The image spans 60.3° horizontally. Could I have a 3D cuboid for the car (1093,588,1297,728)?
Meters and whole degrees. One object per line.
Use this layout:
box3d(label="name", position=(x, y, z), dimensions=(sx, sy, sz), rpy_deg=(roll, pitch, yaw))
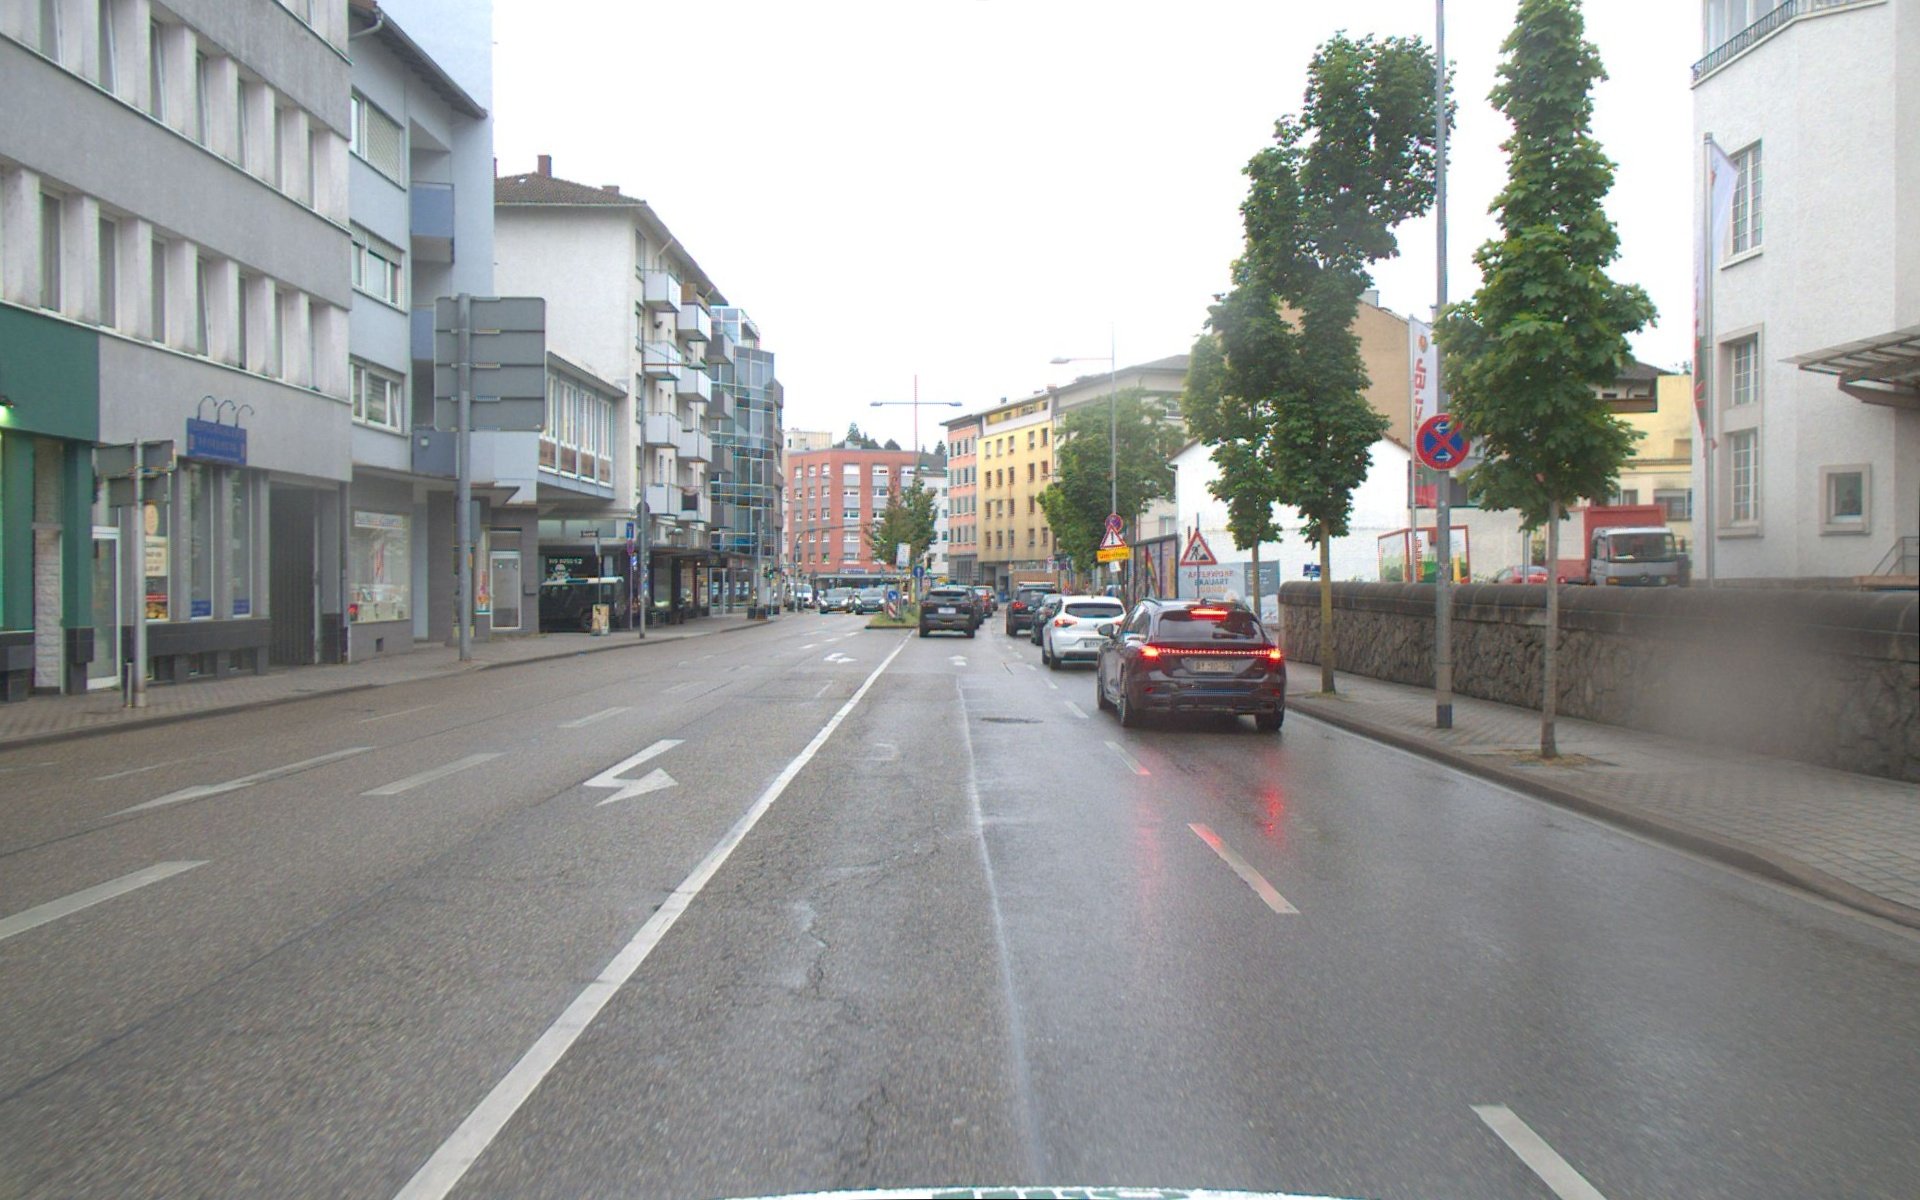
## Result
box3d(label="car", position=(2.711, 0.606, 20.091), dimensions=(1.753, 1.427, 4.633), rpy_deg=(-2, 1, -1))

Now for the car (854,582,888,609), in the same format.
box3d(label="car", position=(-5.119, -0.282, 95.336), dimensions=(1.685, 1.448, 4.165), rpy_deg=(-3, 1, 0))

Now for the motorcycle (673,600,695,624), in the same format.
box3d(label="motorcycle", position=(-12.170, 0.518, 72.982), dimensions=(0.515, 1.012, 2.137), rpy_deg=(1, 1, 1))

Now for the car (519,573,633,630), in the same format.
box3d(label="car", position=(-14.547, 0.055, 62.781), dimensions=(3.882, 2.070, 1.580), rpy_deg=(-1, 0, 0))

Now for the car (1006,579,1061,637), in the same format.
box3d(label="car", position=(2.506, 0.248, 56.904), dimensions=(1.792, 1.837, 3.720), rpy_deg=(1, 2, 2))

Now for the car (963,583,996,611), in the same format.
box3d(label="car", position=(1.014, -0.158, 86.843), dimensions=(1.608, 1.405, 3.347), rpy_deg=(-2, 1, -1))

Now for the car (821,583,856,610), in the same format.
box3d(label="car", position=(-7.390, -0.211, 101.150), dimensions=(1.673, 1.493, 4.830), rpy_deg=(-3, 1, 1))

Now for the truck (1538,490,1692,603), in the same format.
box3d(label="truck", position=(20.997, -1.657, 53.436), dimensions=(2.576, 3.271, 6.933), rpy_deg=(-3, 1, 4))

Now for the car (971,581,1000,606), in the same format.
box3d(label="car", position=(1.504, -0.423, 98.374), dimensions=(1.608, 1.405, 3.347), rpy_deg=(-2, 1, -1))

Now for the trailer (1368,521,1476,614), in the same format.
box3d(label="trailer", position=(15.084, -1.080, 54.292), dimensions=(2.083, 2.763, 5.393), rpy_deg=(-3, 1, 2))

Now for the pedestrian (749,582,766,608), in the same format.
box3d(label="pedestrian", position=(-12.962, -0.345, 105.865), dimensions=(0.775, 1.618, 0.753), rpy_deg=(-2, 1, -36))

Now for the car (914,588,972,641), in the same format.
box3d(label="car", position=(-0.521, 0.458, 54.350), dimensions=(1.786, 1.628, 3.719), rpy_deg=(1, 1, 1))

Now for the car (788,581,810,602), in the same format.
box3d(label="car", position=(-12.516, -0.648, 128.436), dimensions=(1.521, 1.598, 3.341), rpy_deg=(1, 0, -9))

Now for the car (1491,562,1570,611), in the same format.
box3d(label="car", position=(18.264, -0.446, 53.028), dimensions=(1.556, 1.482, 3.266), rpy_deg=(-2, 1, 4))

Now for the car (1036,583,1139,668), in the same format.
box3d(label="car", position=(2.541, 0.469, 33.685), dimensions=(1.631, 1.420, 3.867), rpy_deg=(-5, 2, -1))

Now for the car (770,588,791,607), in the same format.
box3d(label="car", position=(-15.194, -0.232, 139.979), dimensions=(1.429, 1.455, 3.361), rpy_deg=(1, 1, -11))

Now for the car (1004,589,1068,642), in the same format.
box3d(label="car", position=(2.195, 0.425, 47.270), dimensions=(1.749, 1.424, 3.720), rpy_deg=(0, 1, 4))

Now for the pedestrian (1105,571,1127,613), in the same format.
box3d(label="pedestrian", position=(6.730, -0.347, 71.167), dimensions=(0.774, 1.786, 0.872), rpy_deg=(-2, 0, 13))

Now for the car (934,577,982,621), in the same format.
box3d(label="car", position=(-0.036, -0.075, 64.514), dimensions=(1.786, 1.628, 3.719), rpy_deg=(1, 1, 1))
